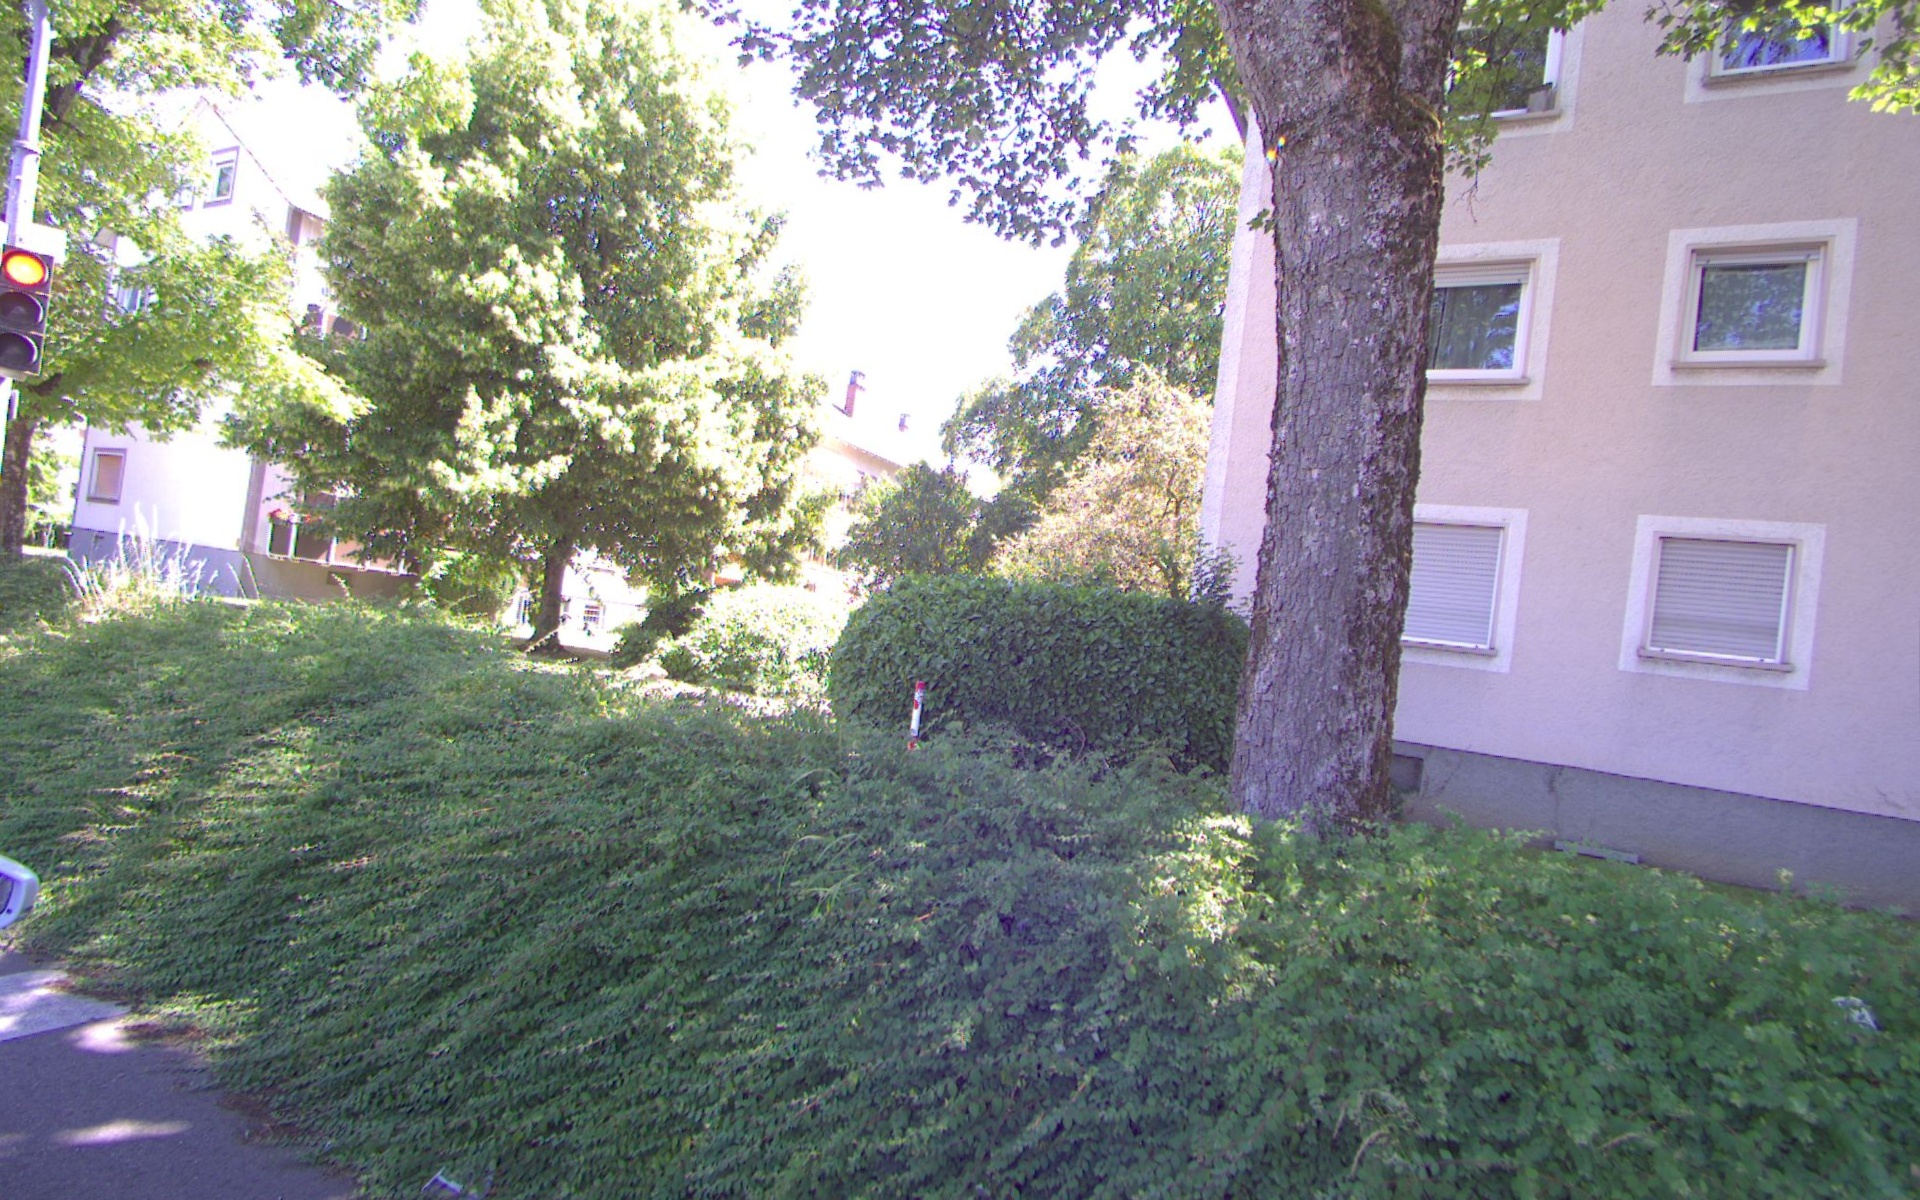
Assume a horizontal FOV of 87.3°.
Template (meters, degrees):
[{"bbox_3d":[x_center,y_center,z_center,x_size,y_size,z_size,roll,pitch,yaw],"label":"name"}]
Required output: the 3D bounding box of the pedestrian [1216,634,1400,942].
[{"bbox_3d":[2.145,1.093,6.184,0.836,1.653,0.720,7,0,23],"label":"pedestrian"}]
